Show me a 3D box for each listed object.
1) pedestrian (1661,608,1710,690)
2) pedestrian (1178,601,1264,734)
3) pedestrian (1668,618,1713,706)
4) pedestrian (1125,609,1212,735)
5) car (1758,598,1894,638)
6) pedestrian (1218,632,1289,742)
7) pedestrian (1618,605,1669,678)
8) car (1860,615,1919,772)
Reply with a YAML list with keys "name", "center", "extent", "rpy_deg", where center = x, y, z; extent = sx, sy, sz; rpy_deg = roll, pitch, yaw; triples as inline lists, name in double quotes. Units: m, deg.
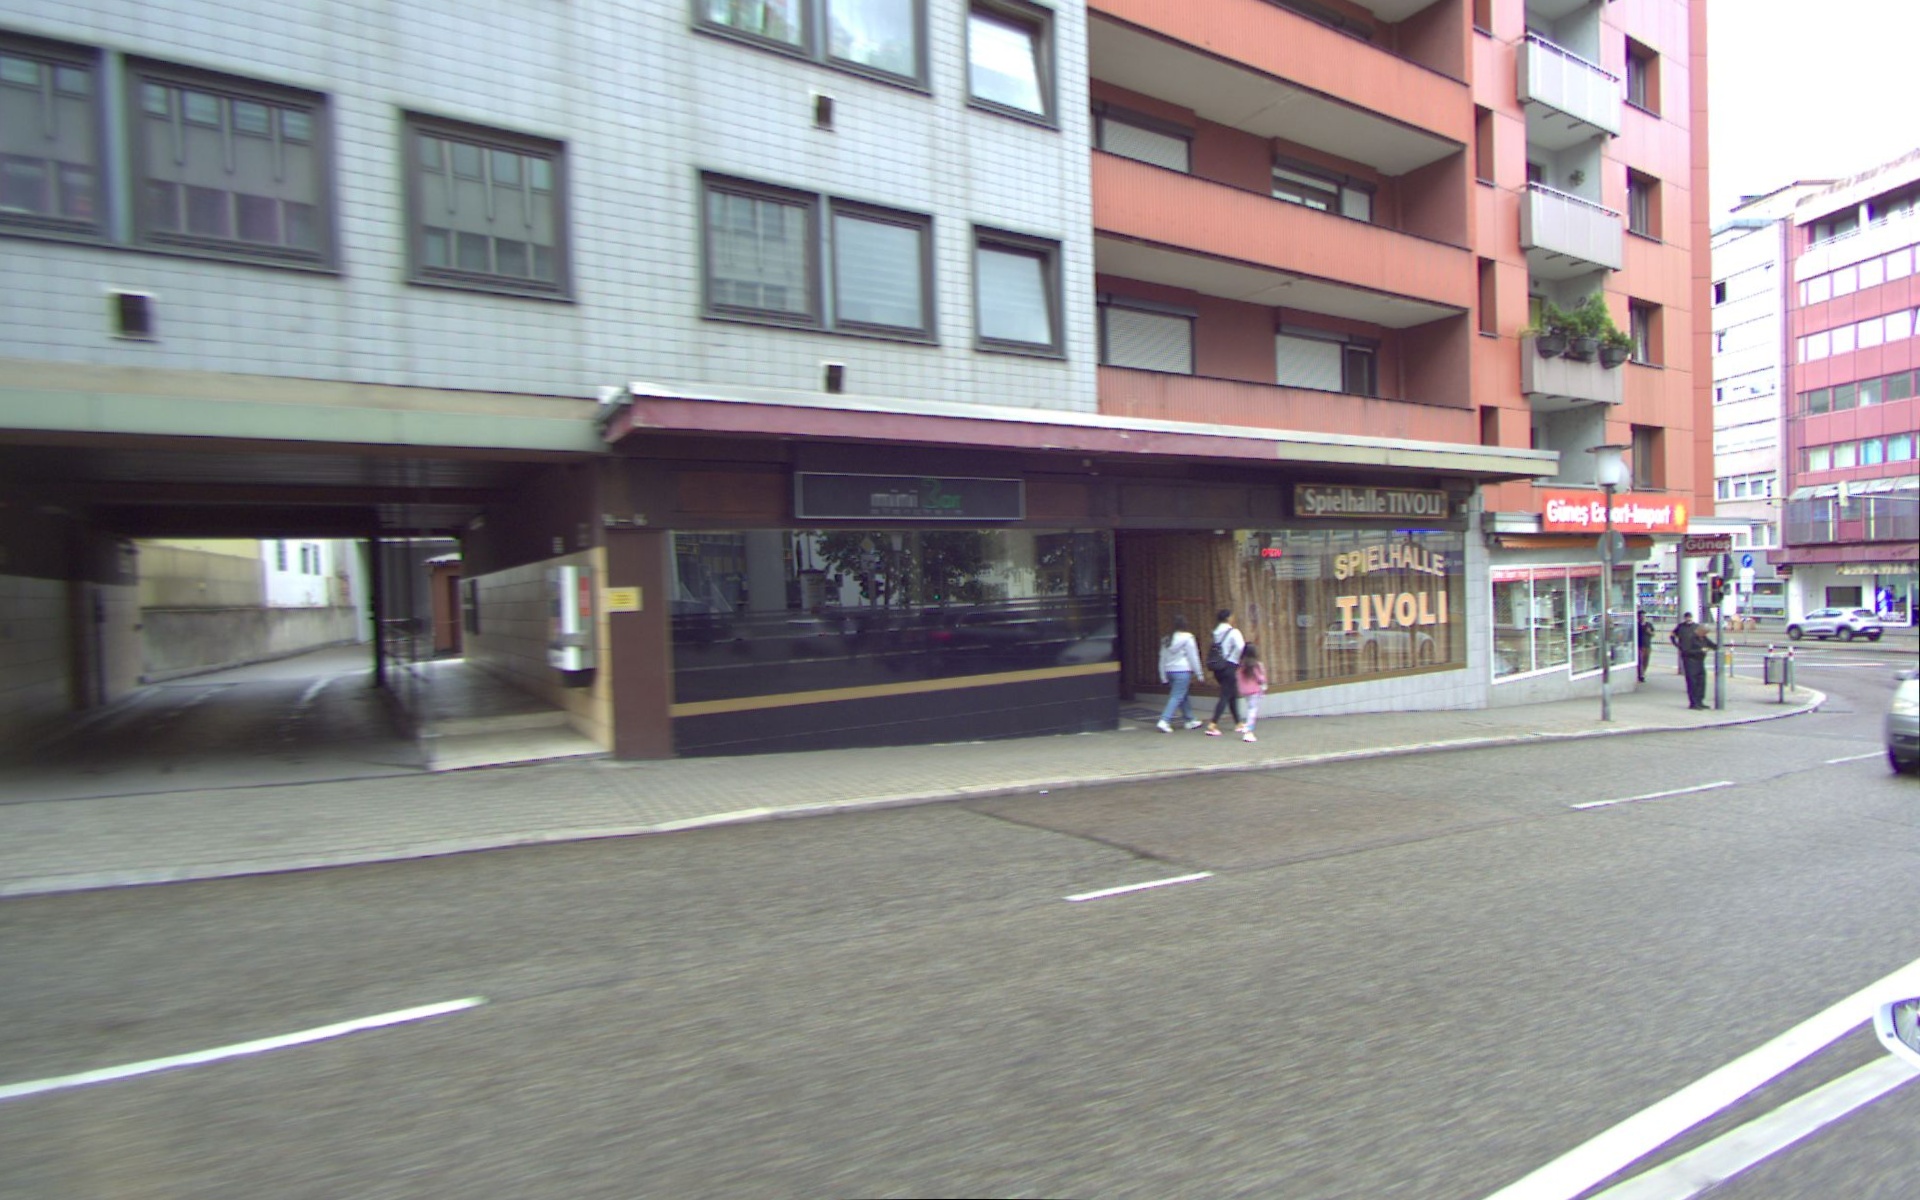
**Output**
- name: "pedestrian"
  center: [17.062, 1.137, 23.624]
  extent: [0.837, 1.873, 0.754]
  rpy_deg: [1, 0, -40]
- name: "pedestrian"
  center: [3.549, 0.885, 13.659]
  extent: [0.718, 1.712, 0.820]
  rpy_deg: [1, 2, -40]
- name: "pedestrian"
  center: [14.527, 1.217, 19.986]
  extent: [0.618, 1.720, 0.550]
  rpy_deg: [1, 0, -35]
- name: "pedestrian"
  center: [2.789, 0.933, 13.443]
  extent: [0.718, 1.582, 0.820]
  rpy_deg: [1, 2, -40]
- name: "car"
  center: [39.629, 0.784, 46.132]
  extent: [1.895, 1.535, 4.657]
  rpy_deg: [3, 1, -6]
- name: "pedestrian"
  center: [3.790, 1.099, 12.961]
  extent: [0.718, 1.341, 0.528]
  rpy_deg: [1, 2, -41]
- name: "pedestrian"
  center: [17.662, 1.064, 25.958]
  extent: [0.813, 1.856, 0.724]
  rpy_deg: [1, 0, 3]
- name: "car"
  center: [11.826, 0.998, 11.123]
  extent: [4.130, 1.613, 1.726]
  rpy_deg: [2, -3, -33]
